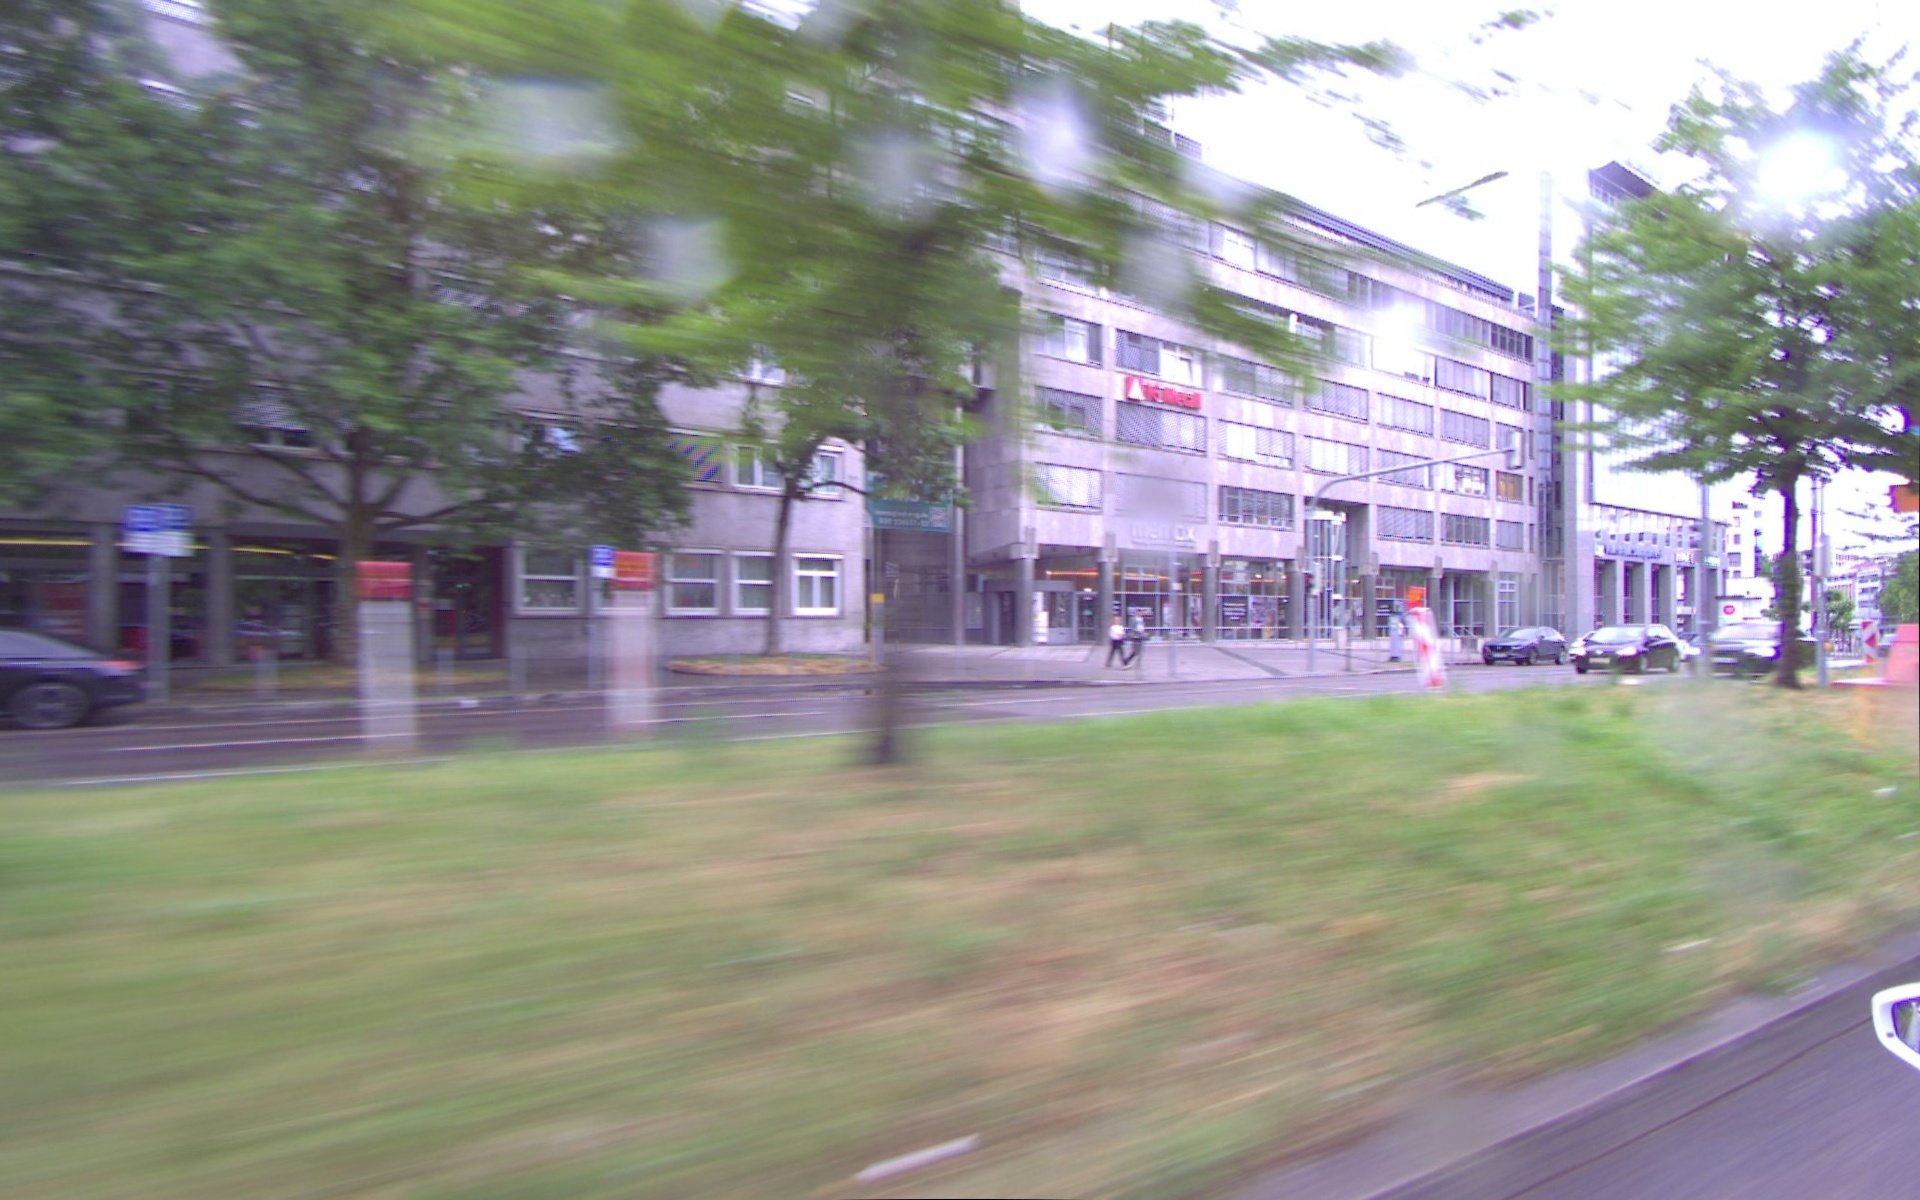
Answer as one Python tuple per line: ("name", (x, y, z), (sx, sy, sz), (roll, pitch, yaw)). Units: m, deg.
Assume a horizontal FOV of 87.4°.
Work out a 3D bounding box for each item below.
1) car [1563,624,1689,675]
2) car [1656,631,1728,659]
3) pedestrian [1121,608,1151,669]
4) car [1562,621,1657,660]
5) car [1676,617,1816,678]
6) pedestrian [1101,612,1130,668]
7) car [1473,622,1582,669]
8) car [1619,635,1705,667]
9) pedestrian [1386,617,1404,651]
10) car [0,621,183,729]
("car", (19.792, 1.455, 29.827), (3.959, 1.433, 1.778), (1, -3, -35))
("car", (37.827, 2.320, 51.881), (4.435, 1.343, 1.878), (2, -2, -37))
("pedestrian", (5.309, 1.159, 30.239), (0.713, 1.811, 0.525), (1, -1, -30))
("car", (28.746, 1.761, 44.390), (4.861, 1.644, 1.765), (1, -1, -34))
("car", (21.032, 1.257, 26.809), (4.681, 1.486, 1.777), (1, -3, -37))
("pedestrian", (4.645, 1.181, 29.953), (0.615, 1.651, 0.600), (1, -1, -43))
("car", (22.601, 1.789, 39.948), (4.742, 1.748, 1.851), (1, -2, -34))
("car", (33.200, 2.380, 47.476), (4.635, 1.420, 1.765), (1, -2, -34))
("pedestrian", (23.283, 1.821, 53.771), (0.523, 1.811, 0.715), (1, -1, -33))
("car", (-13.853, 1.025, 14.069), (4.518, 1.448, 1.851), (1, -2, -34))
